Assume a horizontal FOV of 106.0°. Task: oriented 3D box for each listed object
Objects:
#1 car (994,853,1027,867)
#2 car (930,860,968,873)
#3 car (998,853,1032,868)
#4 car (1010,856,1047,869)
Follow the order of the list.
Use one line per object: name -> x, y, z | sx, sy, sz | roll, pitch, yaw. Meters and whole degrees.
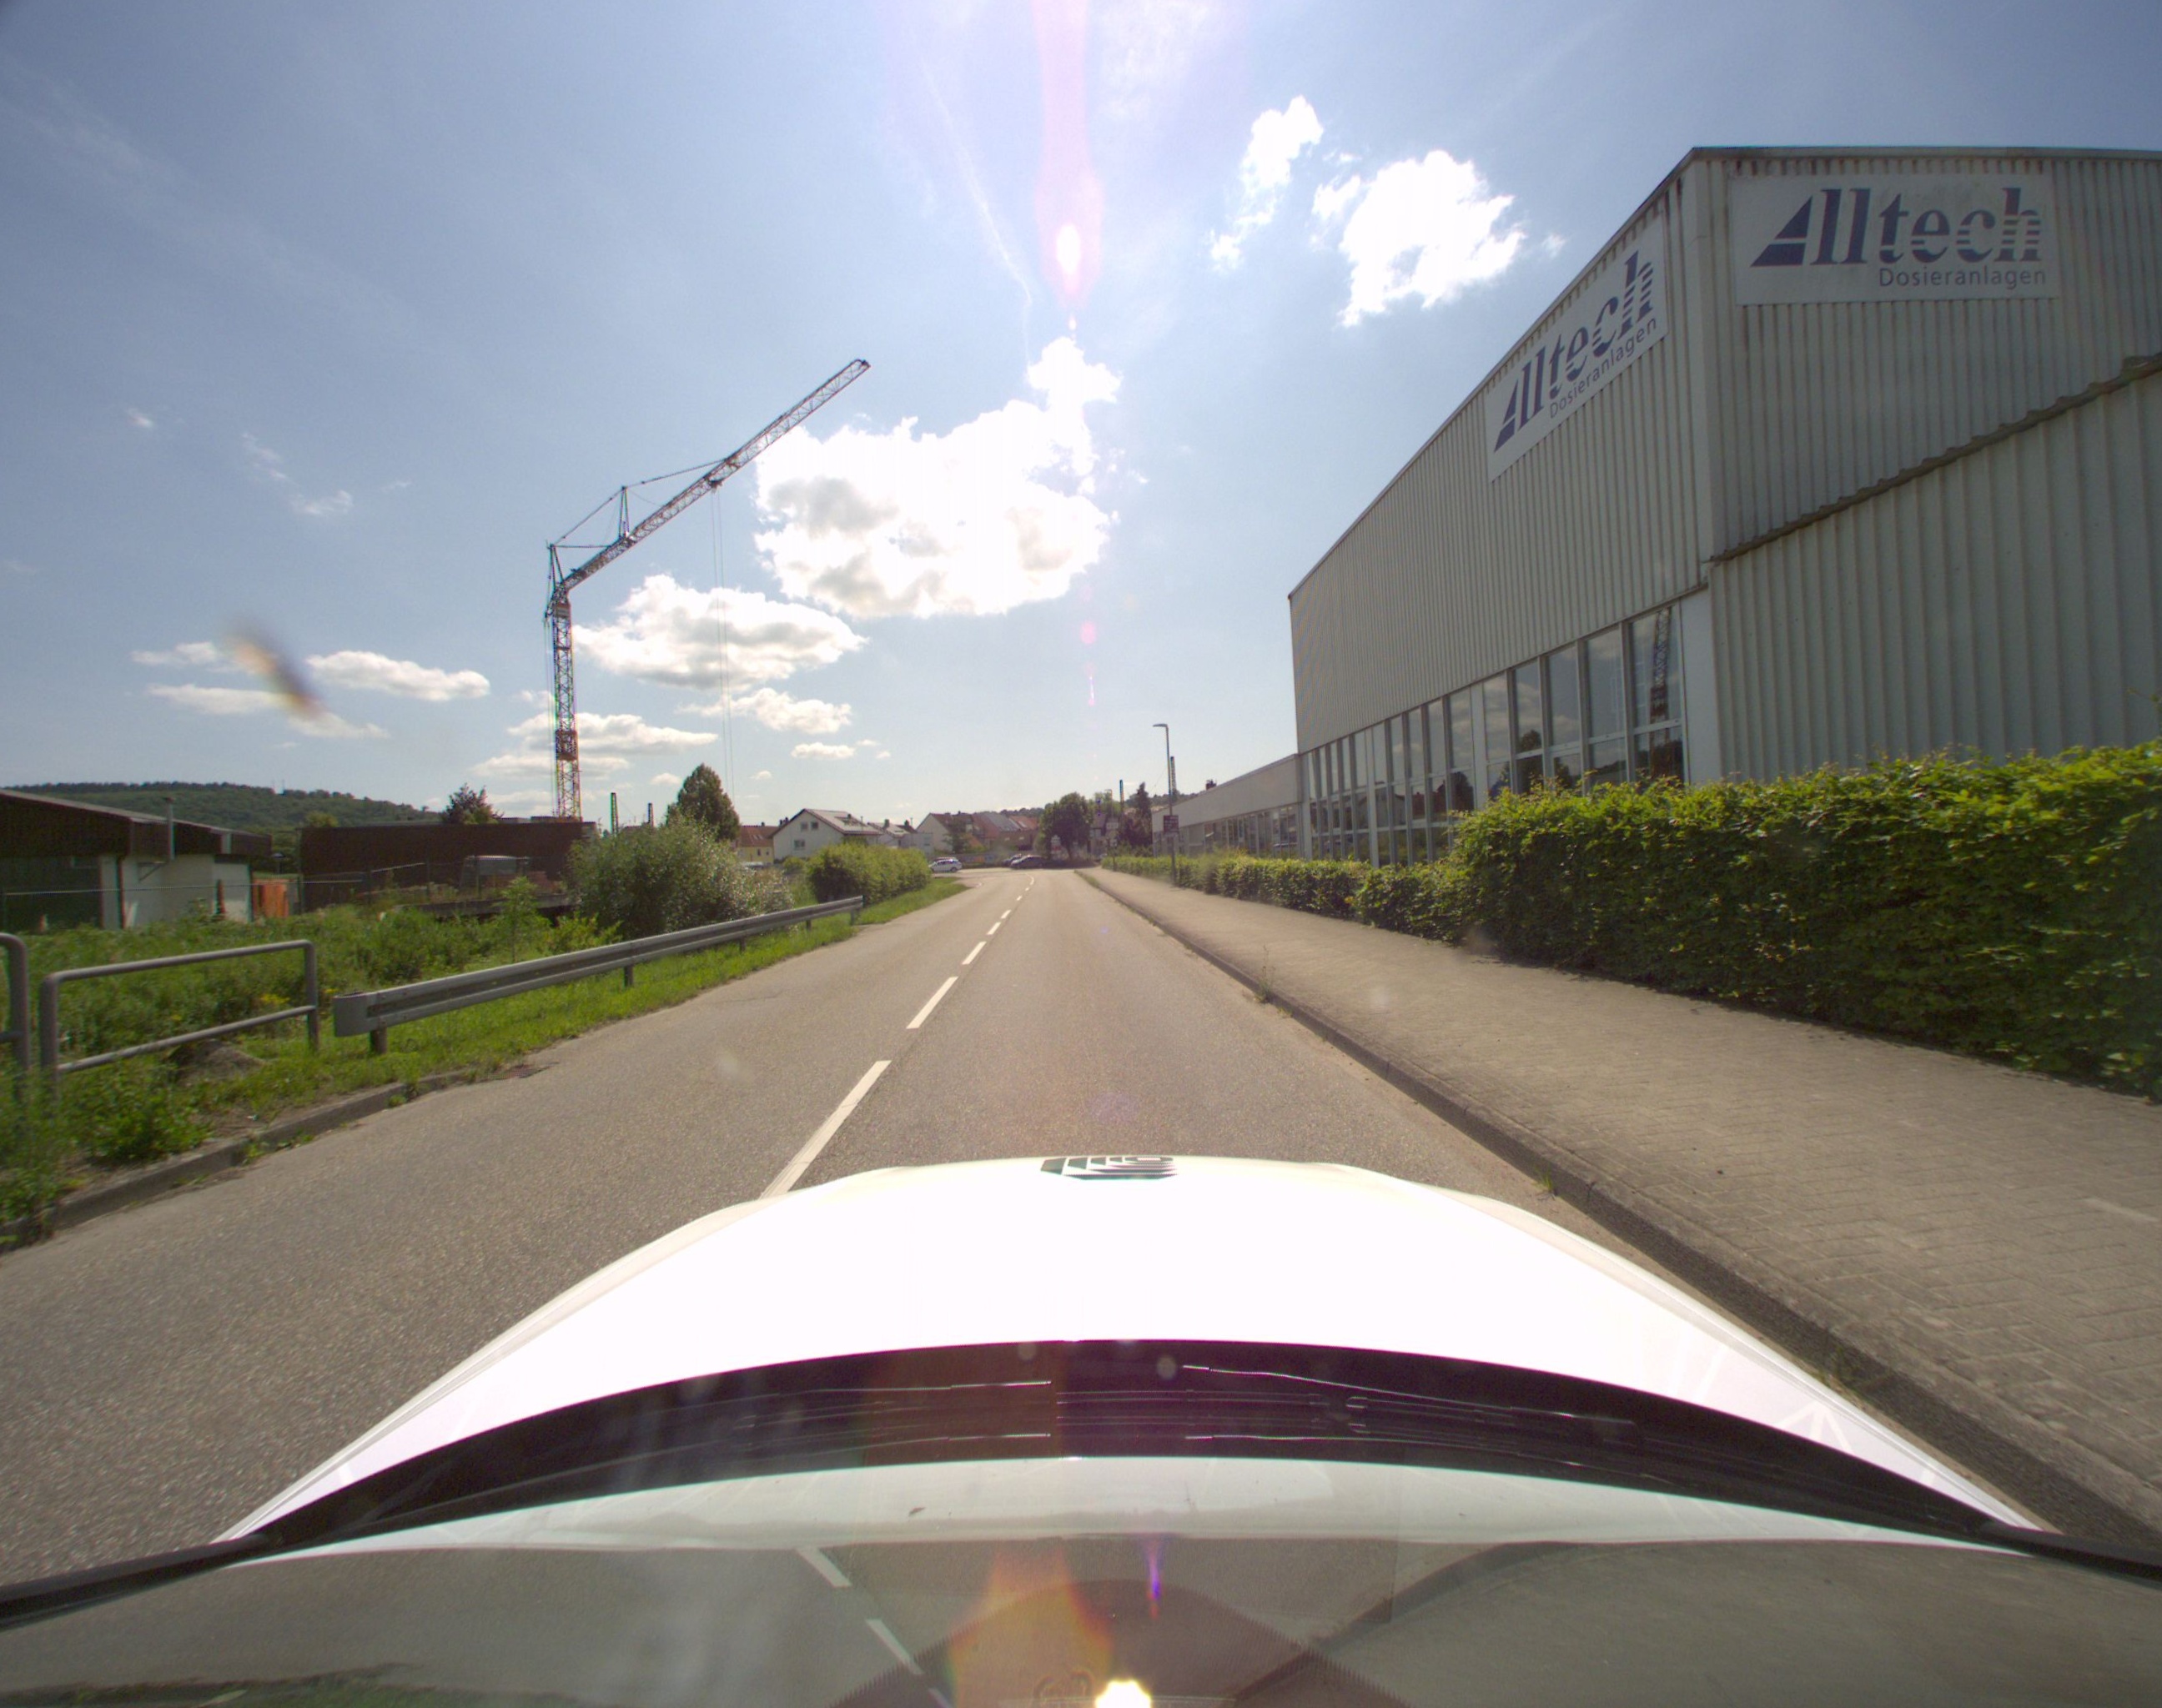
car -> -8.947, 0.804, 103.767 | 3.990, 1.730, 1.762 | -1, -1, -13
car -> -15.314, 1.419, 94.376 | 4.290, 1.477, 1.818 | 0, -1, -15
car -> -8.209, 0.800, 100.846 | 3.991, 1.657, 1.991 | -3, 0, -13
car -> -6.280, 1.023, 96.748 | 4.190, 1.463, 1.658 | -2, -1, -12
